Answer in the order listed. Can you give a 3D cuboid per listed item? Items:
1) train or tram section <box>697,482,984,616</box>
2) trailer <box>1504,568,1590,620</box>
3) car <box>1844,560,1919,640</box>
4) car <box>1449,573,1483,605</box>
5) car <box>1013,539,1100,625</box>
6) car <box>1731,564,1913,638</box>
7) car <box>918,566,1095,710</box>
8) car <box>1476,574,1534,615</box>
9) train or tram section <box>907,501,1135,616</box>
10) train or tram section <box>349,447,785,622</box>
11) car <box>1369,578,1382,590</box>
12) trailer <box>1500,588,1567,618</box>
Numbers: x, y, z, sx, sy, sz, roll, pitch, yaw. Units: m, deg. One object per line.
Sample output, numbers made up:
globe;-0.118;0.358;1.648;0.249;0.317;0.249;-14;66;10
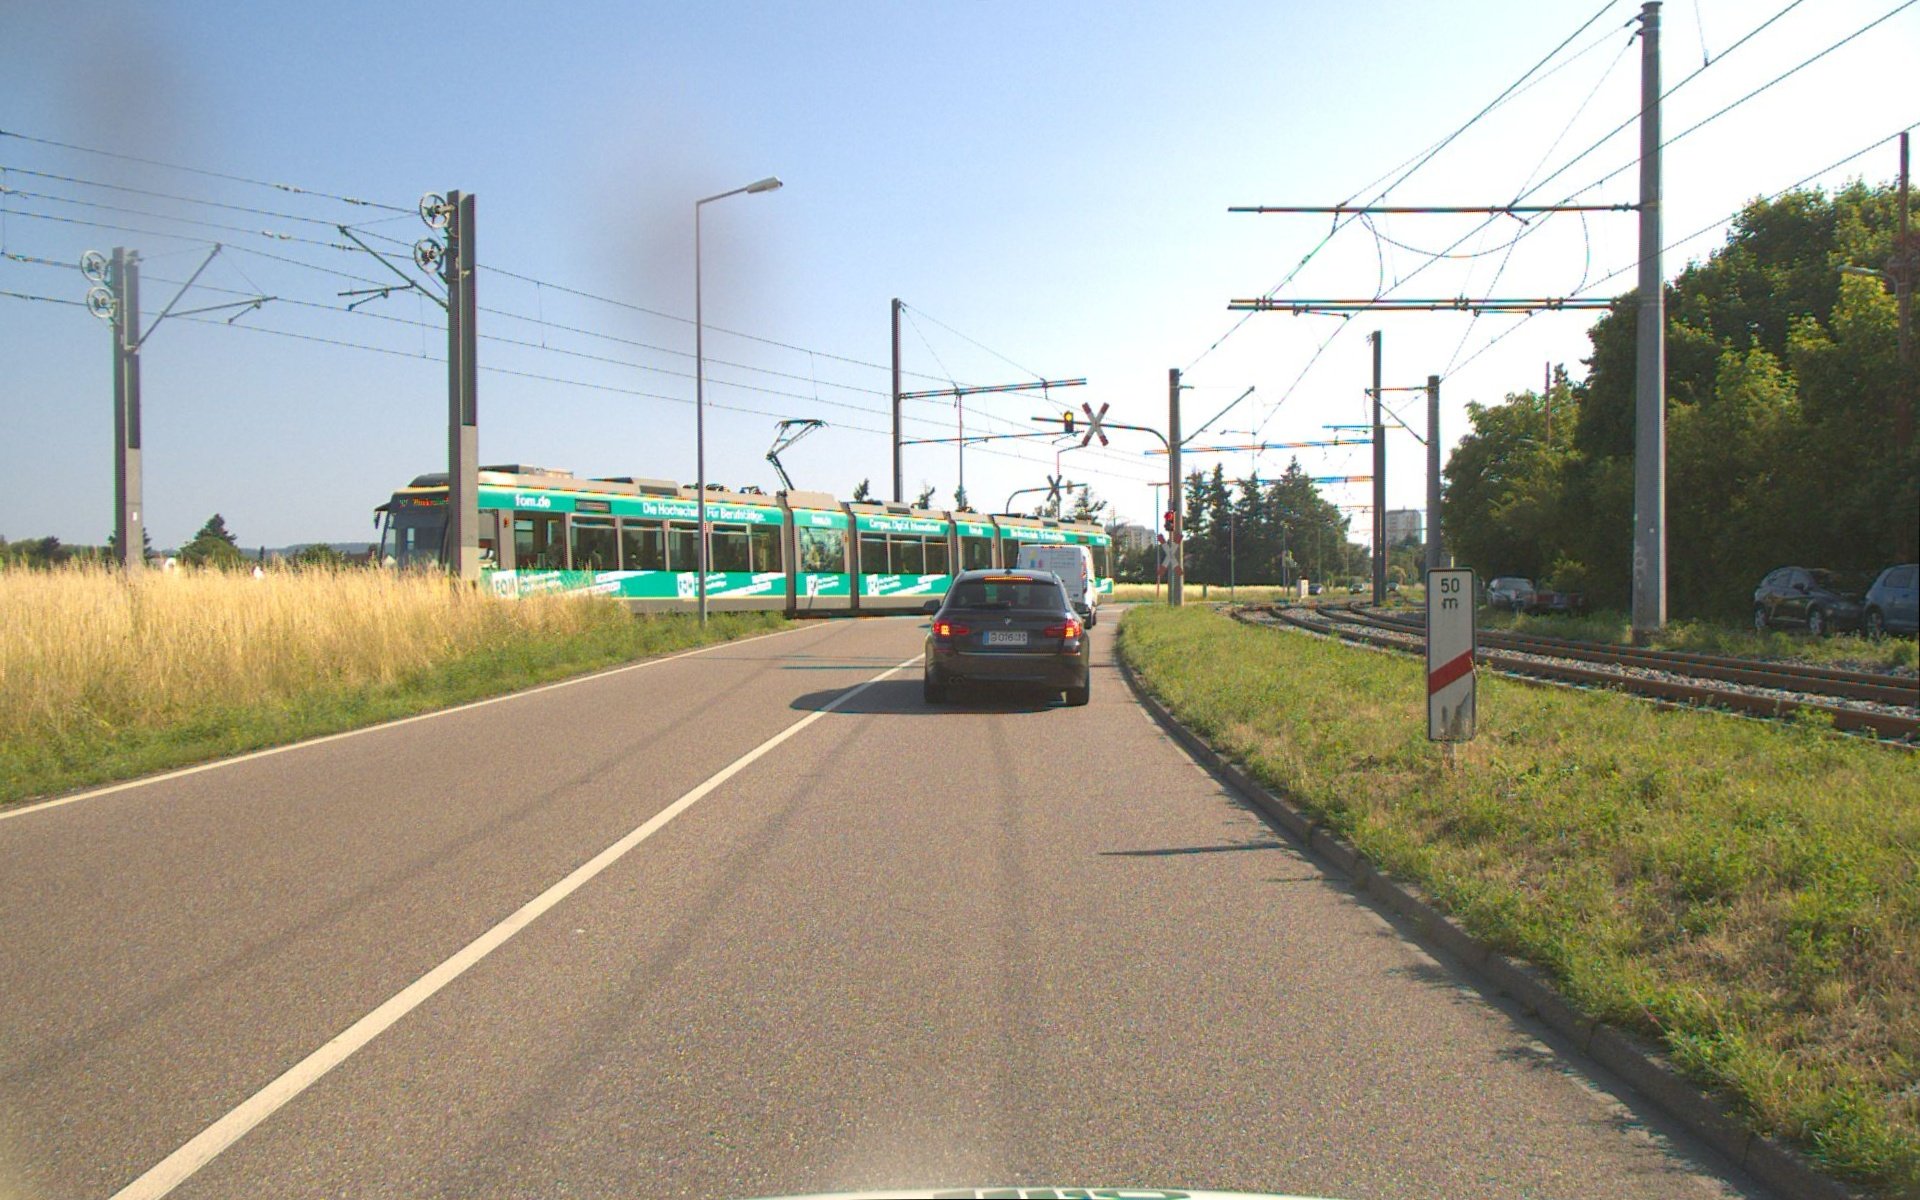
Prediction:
train or tram section;-3.246;-1.344;50.511;2.861;3.514;12.151;1;0;27
trailer;19.791;-0.204;55.903;1.983;1.624;4.263;2;1;10
car;17.839;-0.005;29.929;1.454;1.425;4.150;0;1;-1
car;34.205;-0.729;111.792;1.952;2.039;5.069;3;1;19
car;2.484;-0.460;41.590;1.818;2.023;5.112;1;1;7
car;18.039;-0.006;34.840;1.589;1.435;4.523;1;1;2
car;0.569;0.344;19.631;1.830;1.478;4.745;1;1;2
car;21.365;-0.237;64.974;1.662;1.481;4.885;3;1;13
train or tram section;2.689;-1.352;62.307;2.850;3.631;14.243;1;-1;27
train or tram section;-8.807;-1.385;39.641;2.894;3.545;12.149;1;1;28
car;63.958;-2.476;254.546;1.671;1.694;4.591;1;1;19
trailer;20.714;0.076;59.850;1.694;0.955;3.731;3;1;10
